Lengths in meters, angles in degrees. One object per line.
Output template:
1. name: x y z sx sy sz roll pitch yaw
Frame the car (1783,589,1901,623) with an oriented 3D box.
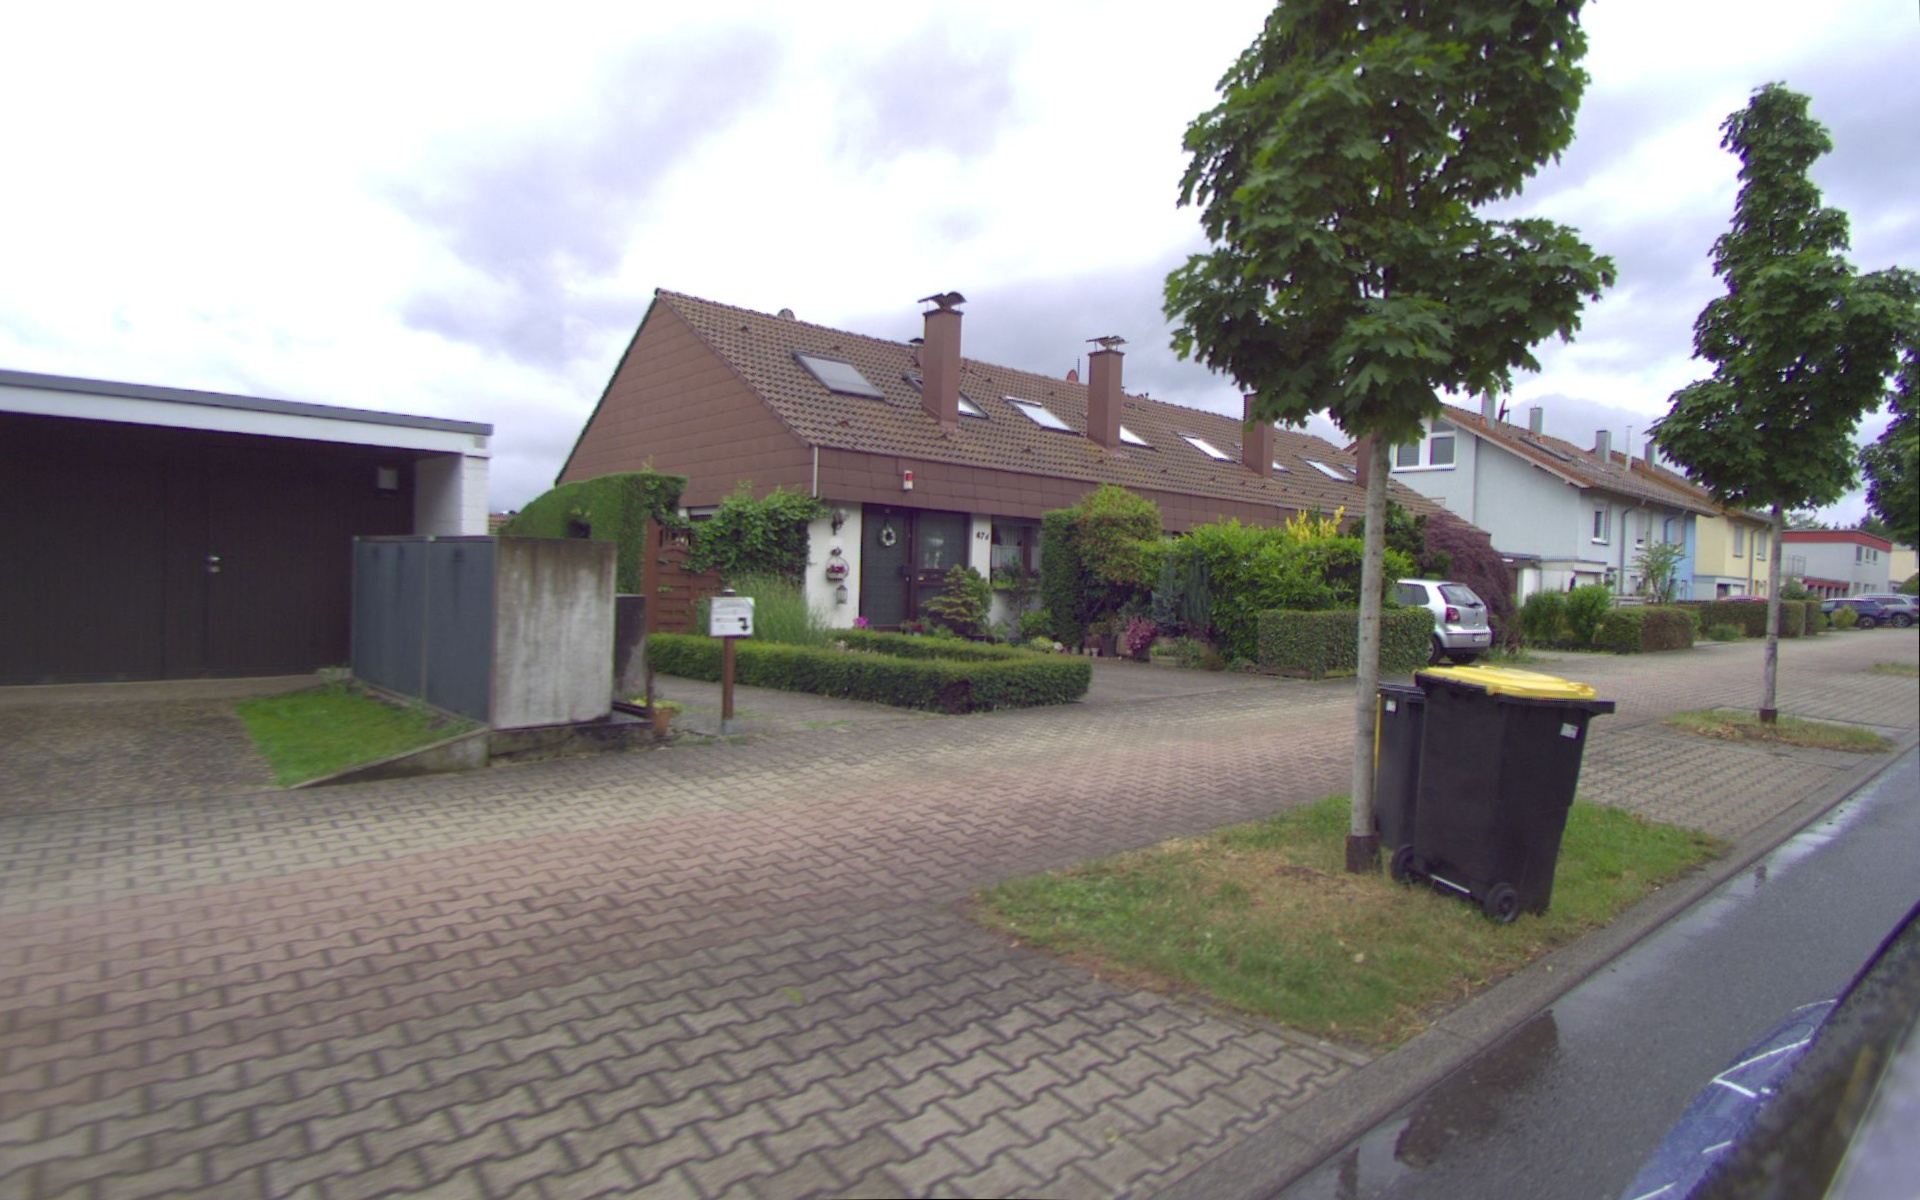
1. car: 40.992 0.326 47.099 1.646 1.406 3.988 4 -5 -44

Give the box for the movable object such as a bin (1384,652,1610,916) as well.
1. movable object such as a bin: 2.405 0.795 4.590 0.550 1.026 0.618 1 5 -15

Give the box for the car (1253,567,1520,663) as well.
1. car: 7.478 0.177 18.065 1.814 1.460 3.997 0 2 -39

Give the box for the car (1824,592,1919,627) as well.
1. car: 48.762 0.491 53.644 1.956 1.692 4.190 0 2 -39

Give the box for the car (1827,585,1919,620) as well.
1. car: 46.526 0.139 51.032 4.177 1.693 1.695 -1 0 43

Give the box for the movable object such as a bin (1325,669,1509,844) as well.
1. movable object such as a bin: 2.511 0.836 5.613 0.588 0.810 0.663 1 4 -15

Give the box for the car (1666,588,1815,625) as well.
1. car: 28.771 0.213 37.459 4.292 1.276 1.657 1 0 37
